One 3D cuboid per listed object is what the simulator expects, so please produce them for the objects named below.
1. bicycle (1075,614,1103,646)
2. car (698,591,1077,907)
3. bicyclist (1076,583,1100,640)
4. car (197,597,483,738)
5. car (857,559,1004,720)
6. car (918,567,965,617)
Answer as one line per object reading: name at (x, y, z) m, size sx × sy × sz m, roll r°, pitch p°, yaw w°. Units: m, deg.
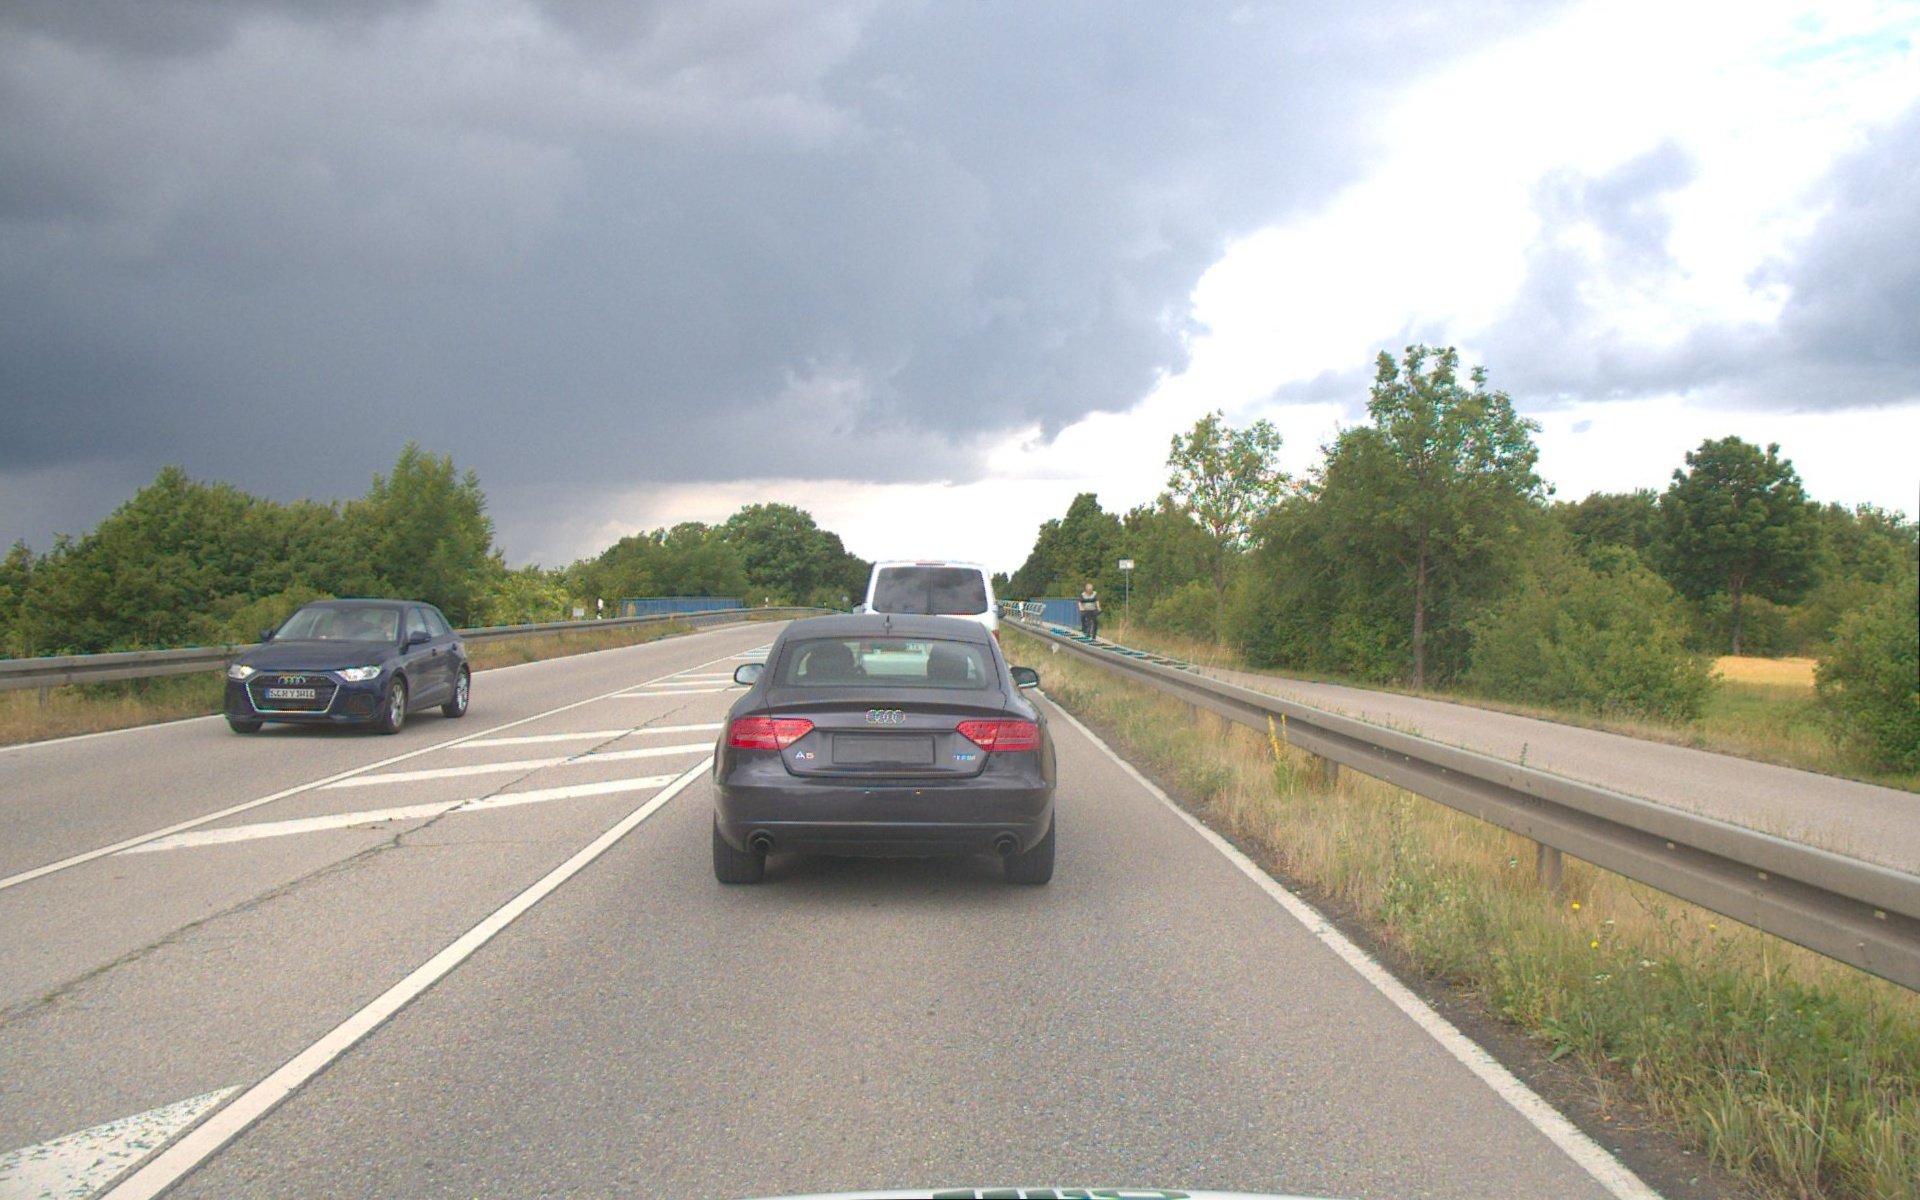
bicycle at (3.845, 0.889, 49.546) m, size 0.652 × 0.936 × 1.830 m, roll 0°, pitch 0°, yaw -1°
car at (-0.375, 0.714, 9.731) m, size 1.749 × 1.448 × 3.999 m, roll 1°, pitch -1°, yaw -1°
bicyclist at (3.837, 0.339, 49.503) m, size 0.634 × 1.674 × 0.866 m, roll 0°, pitch 0°, yaw -1°
car at (-6.850, 0.686, 18.753) m, size 1.825 × 1.400 × 3.998 m, roll 1°, pitch 0°, yaw -2°
car at (-0.396, 0.492, 22.038) m, size 1.749 × 1.923 × 3.999 m, roll 1°, pitch -1°, yaw -1°
car at (-0.982, -0.435, 88.618) m, size 2.397 × 2.548 × 5.040 m, roll 1°, pitch 0°, yaw -1°
